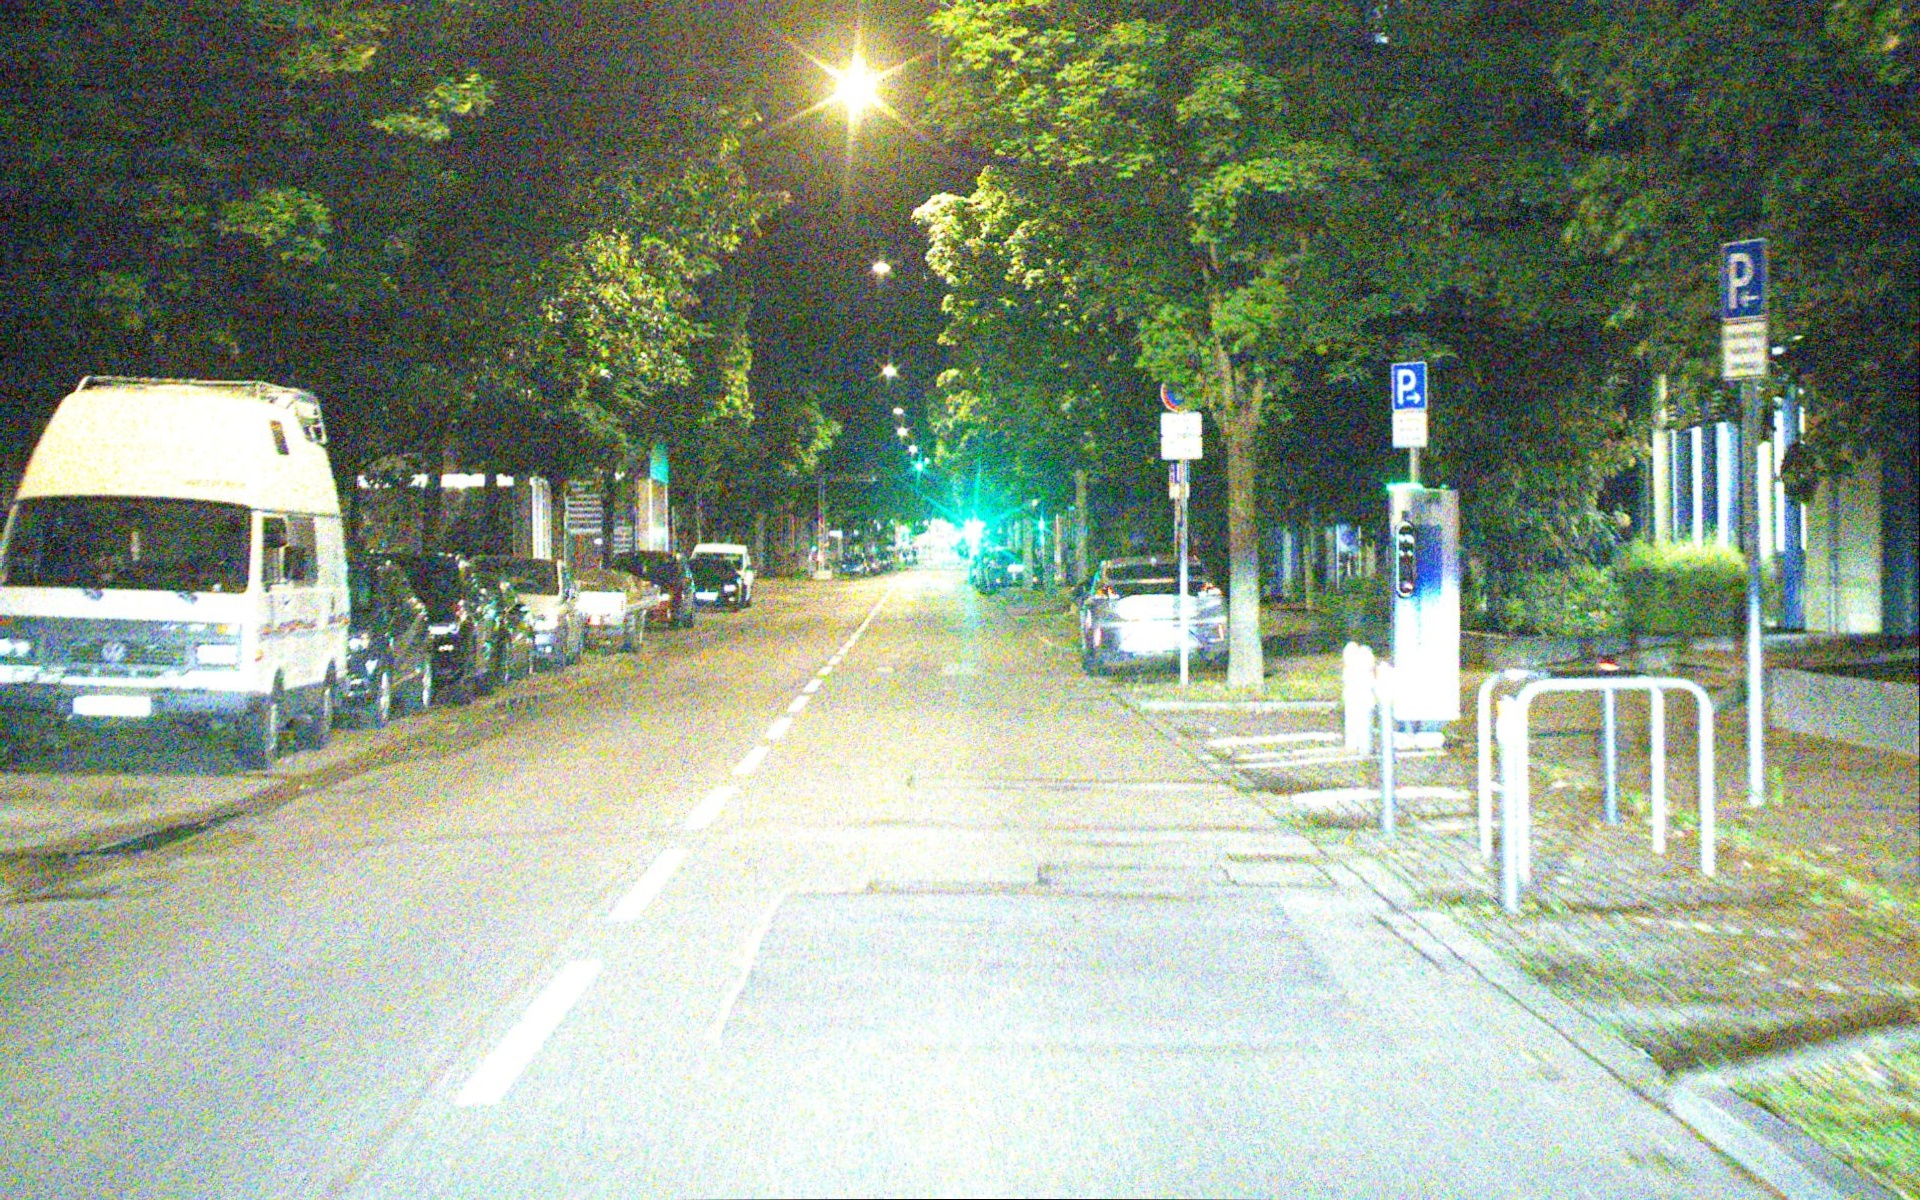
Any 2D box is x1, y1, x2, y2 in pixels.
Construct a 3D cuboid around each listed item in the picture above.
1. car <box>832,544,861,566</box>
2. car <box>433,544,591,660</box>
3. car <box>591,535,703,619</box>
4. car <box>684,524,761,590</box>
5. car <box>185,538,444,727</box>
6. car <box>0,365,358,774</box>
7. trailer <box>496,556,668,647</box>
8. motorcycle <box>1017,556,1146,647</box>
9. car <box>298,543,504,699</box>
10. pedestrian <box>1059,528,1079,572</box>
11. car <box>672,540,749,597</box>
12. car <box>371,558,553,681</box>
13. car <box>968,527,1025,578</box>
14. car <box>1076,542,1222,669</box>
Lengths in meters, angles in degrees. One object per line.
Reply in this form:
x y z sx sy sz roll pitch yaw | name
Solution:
-7.327 -2.883 221.578 1.740 1.411 3.752 0 1 0 | car
-6.285 -0.010 48.601 1.716 1.496 4.206 2 1 -1 | car
-6.453 -0.507 71.269 1.822 1.593 4.073 3 1 1 | car
-6.902 -1.263 100.208 1.822 1.805 4.210 3 1 1 | car
-6.067 0.254 32.712 1.742 1.601 4.116 2 1 -1 | car
-6.209 -0.268 27.011 2.179 2.899 4.910 1 1 -1 | car
-6.131 -0.018 56.350 2.110 1.330 5.435 2 1 1 | trailer
1.738 0.006 49.615 0.926 1.279 2.235 -1 1 -25 | motorcycle
-6.122 0.183 38.071 1.742 1.601 4.299 1 1 -2 | car
4.330 -1.997 136.626 0.705 1.716 0.821 -2 1 0 | pedestrian
-6.749 -0.879 93.283 1.700 1.428 3.828 3 1 0 | car
-6.259 0.207 43.656 1.704 1.407 4.634 -1 1 -1 | car
1.187 -1.600 114.007 1.853 1.648 4.209 0 1 0 | car
2.333 0.033 43.299 1.668 1.424 4.148 -3 1 2 | car
